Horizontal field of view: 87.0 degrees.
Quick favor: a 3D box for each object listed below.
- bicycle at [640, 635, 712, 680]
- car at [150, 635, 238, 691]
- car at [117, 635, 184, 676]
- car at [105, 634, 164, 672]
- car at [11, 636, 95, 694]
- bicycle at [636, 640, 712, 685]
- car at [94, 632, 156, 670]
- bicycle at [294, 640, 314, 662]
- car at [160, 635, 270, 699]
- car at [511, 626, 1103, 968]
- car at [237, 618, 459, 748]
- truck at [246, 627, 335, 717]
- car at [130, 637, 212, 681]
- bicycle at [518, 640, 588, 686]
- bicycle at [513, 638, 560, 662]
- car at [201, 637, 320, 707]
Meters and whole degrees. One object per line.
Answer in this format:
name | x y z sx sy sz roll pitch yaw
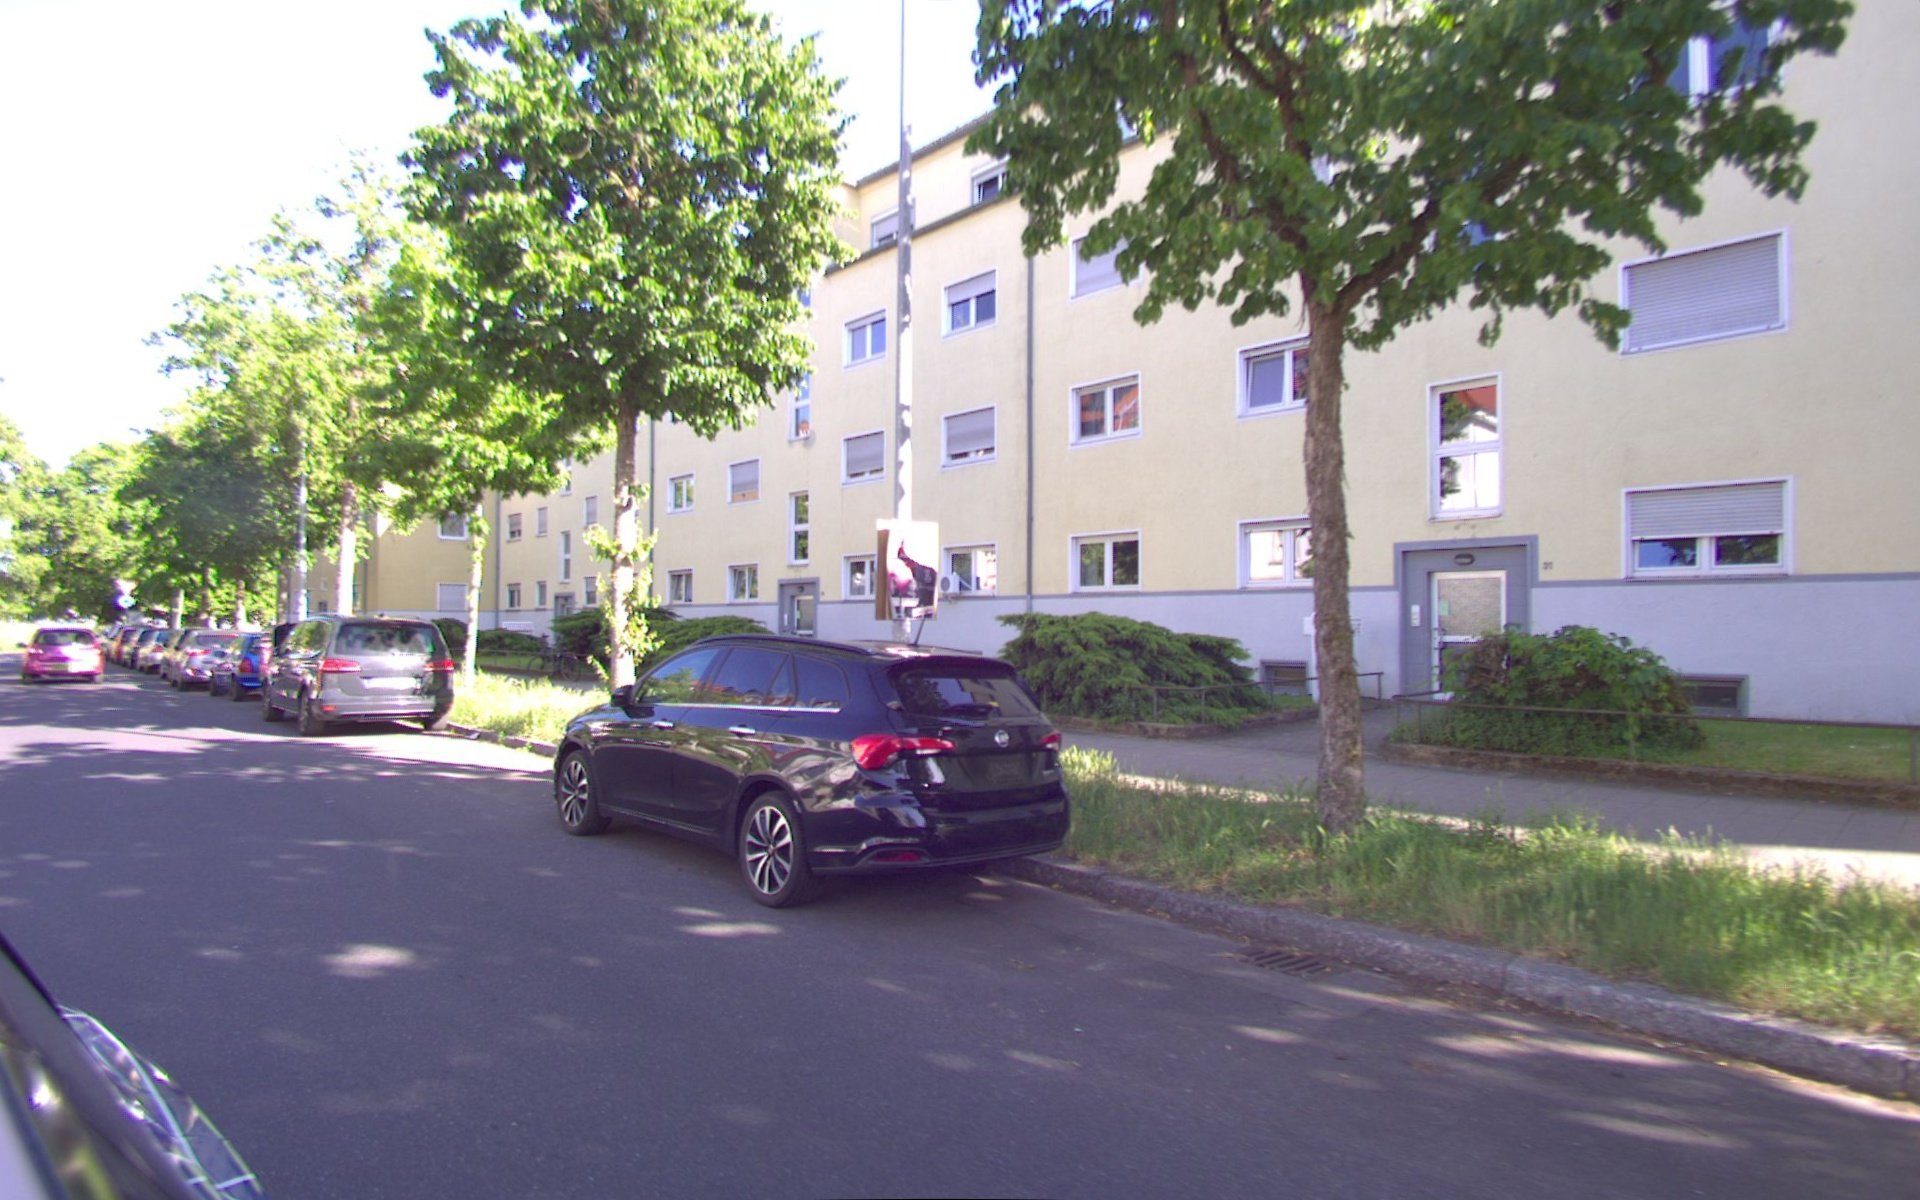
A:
bicycle | -7.600 1.525 27.109 1.816 1.089 0.487 -1 0 -41
car | -22.531 1.821 29.714 1.601 1.527 4.273 5 -5 -42
car | -30.409 2.050 37.987 1.645 1.470 3.936 2 -3 -43
car | -33.855 2.145 41.476 1.645 1.497 3.259 2 -3 -43
car | -23.911 1.679 26.651 1.488 1.437 3.180 3 -3 -44
bicycle | -7.056 1.526 25.007 0.487 1.089 1.819 -2 -3 43
car | -37.005 2.223 44.811 1.672 1.577 4.738 2 -3 -45
bicycle | -31.364 2.440 48.381 0.533 1.034 1.750 2 -3 -42
car | -18.825 1.636 25.486 1.770 1.455 4.694 4 -4 -41
car | -1.389 1.000 6.917 1.489 1.560 4.782 5 -5 -43
car | -9.579 1.215 15.641 1.827 1.693 4.981 5 -5 -43
truck | -12.663 1.316 19.104 1.071 1.589 2.435 2 -3 -41
car | -26.592 1.949 34.052 1.724 1.379 4.678 3 -4 -43
bicycle | -10.312 1.578 25.605 1.833 1.089 0.483 -1 0 23
bicycle | -16.313 1.920 38.996 0.480 0.938 1.616 -2 -3 38
car | -15.338 1.508 22.114 1.503 1.406 3.729 2 -3 -45
